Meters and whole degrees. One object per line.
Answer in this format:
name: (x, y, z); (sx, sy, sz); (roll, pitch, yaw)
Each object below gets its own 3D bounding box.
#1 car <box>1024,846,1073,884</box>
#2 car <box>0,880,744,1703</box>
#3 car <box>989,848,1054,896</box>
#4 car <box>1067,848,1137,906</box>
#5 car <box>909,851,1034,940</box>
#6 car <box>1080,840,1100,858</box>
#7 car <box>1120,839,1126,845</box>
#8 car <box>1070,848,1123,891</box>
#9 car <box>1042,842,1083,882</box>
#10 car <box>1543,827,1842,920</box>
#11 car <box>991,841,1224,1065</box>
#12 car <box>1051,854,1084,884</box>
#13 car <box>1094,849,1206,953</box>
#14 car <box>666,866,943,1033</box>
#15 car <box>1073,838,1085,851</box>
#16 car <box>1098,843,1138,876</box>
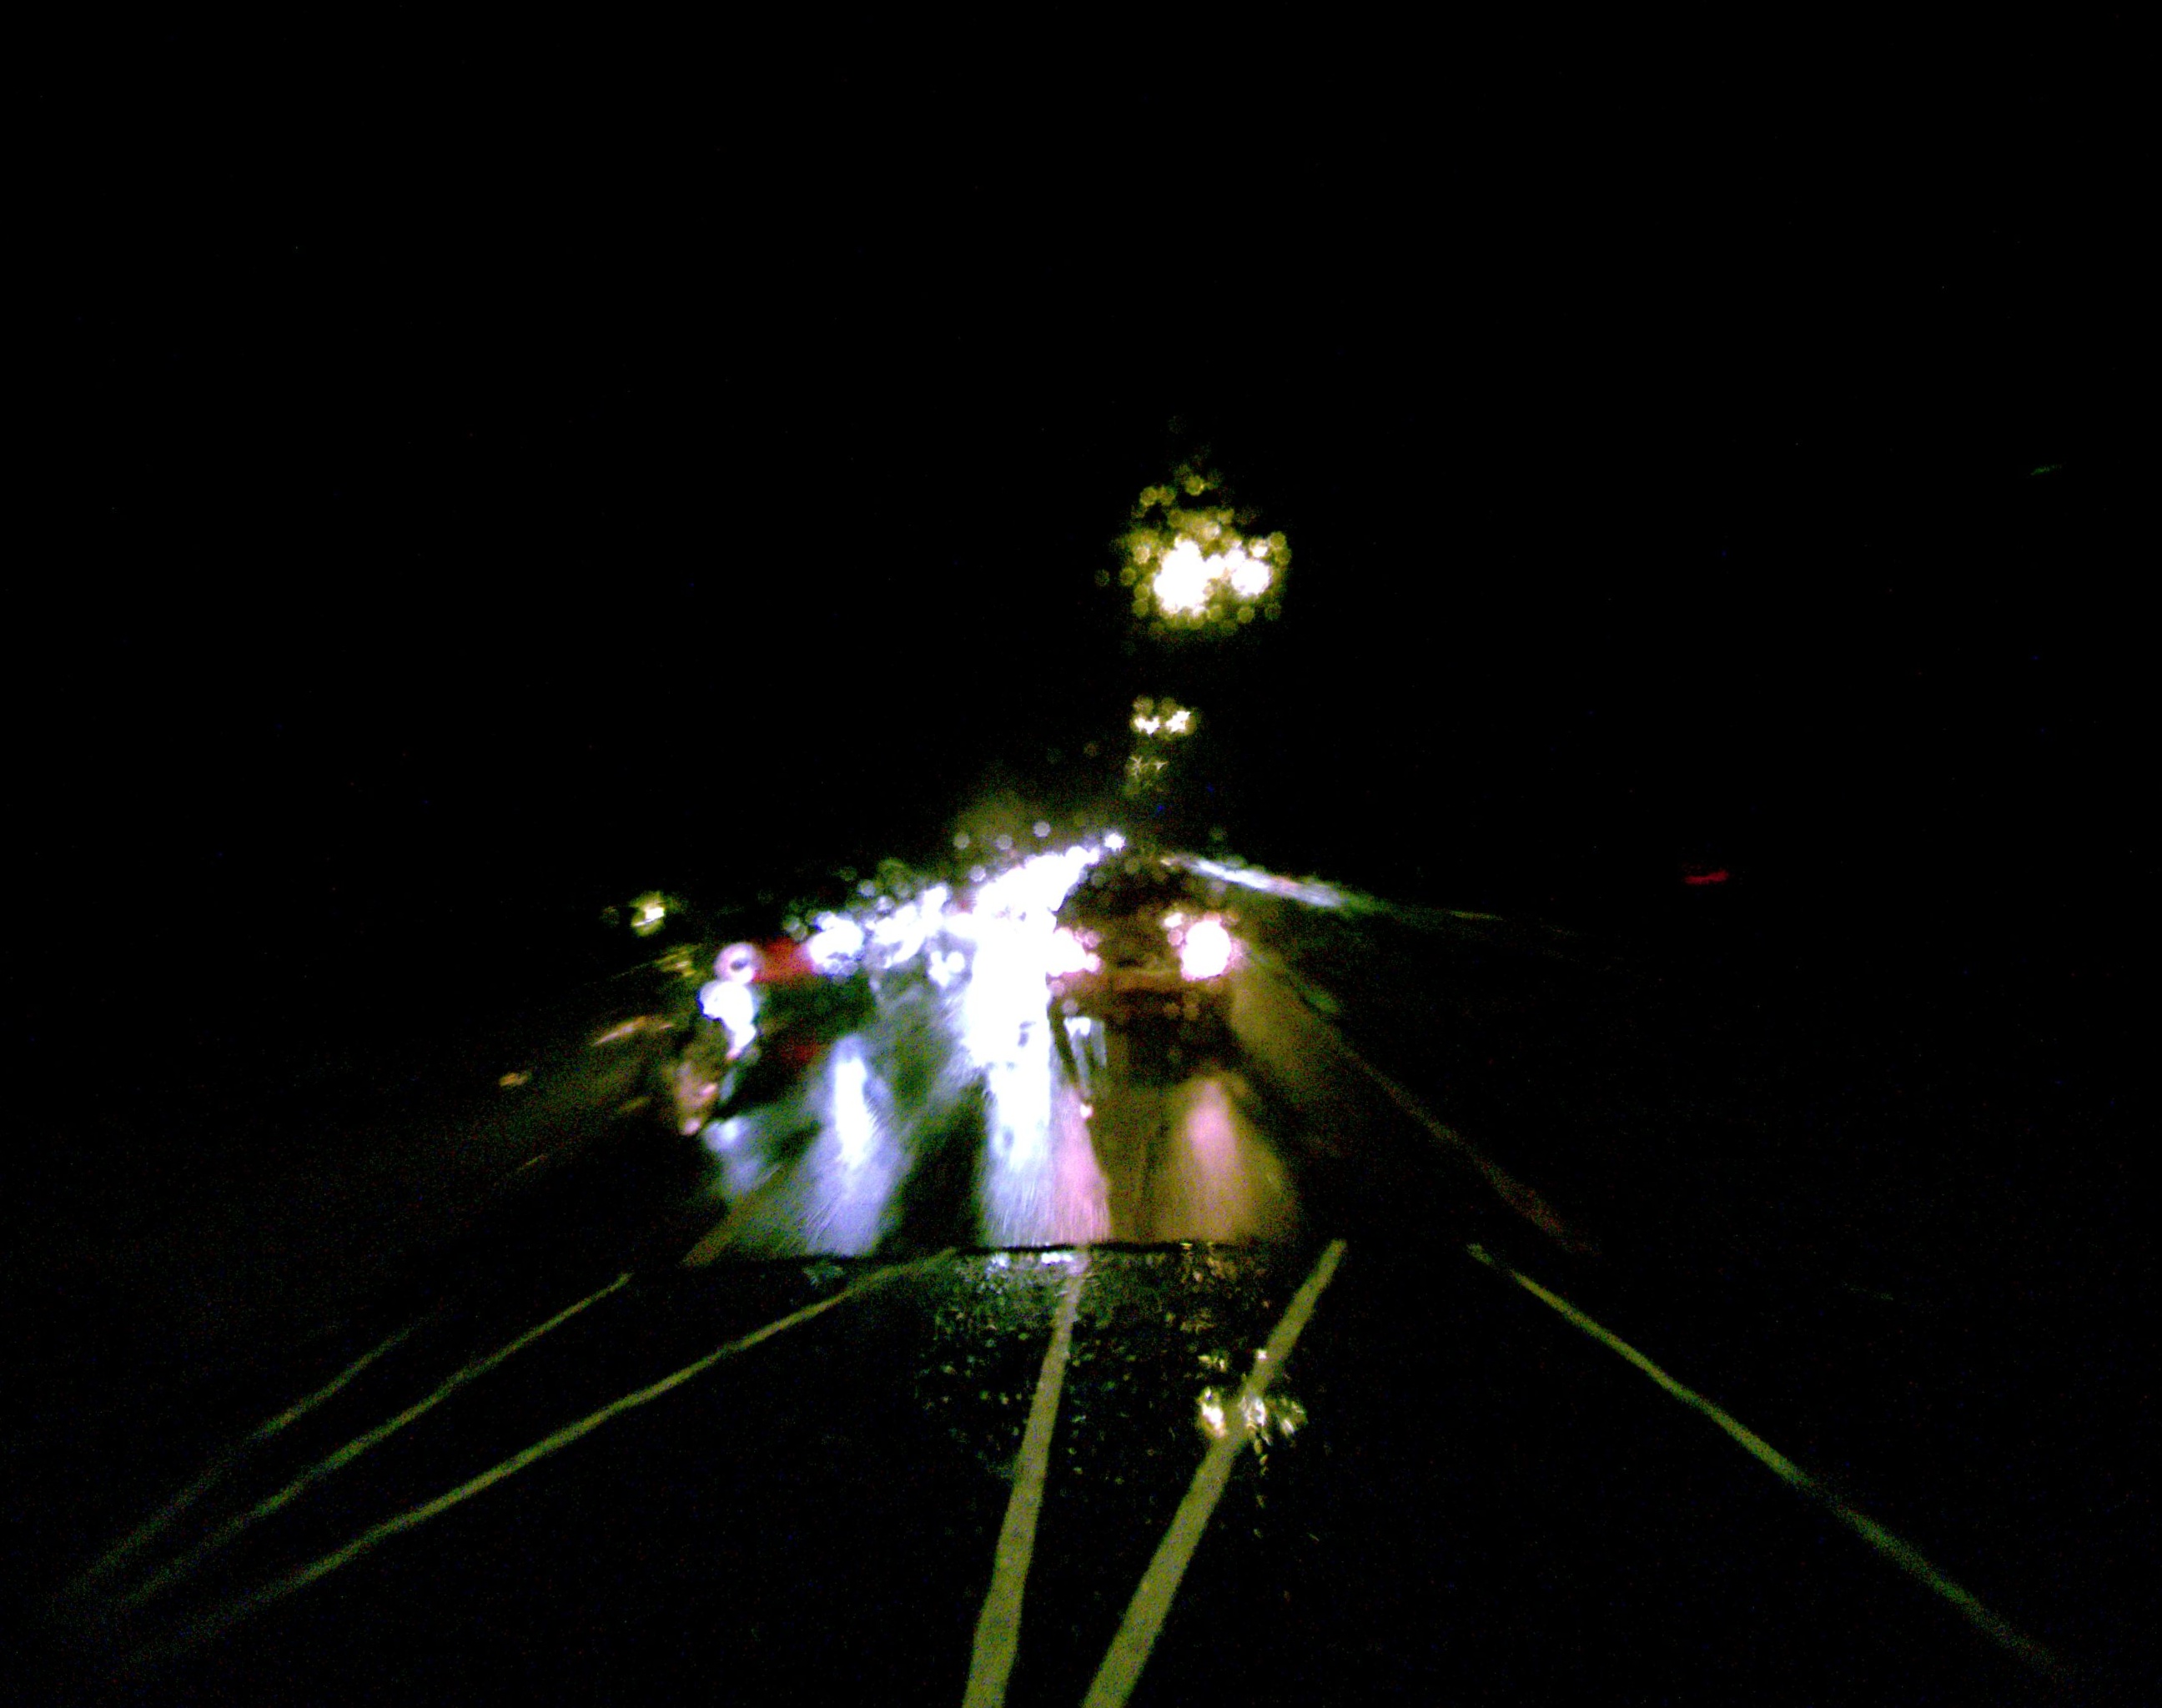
car: (-1.422, 0.460, 35.103); (1.998, 1.589, 4.391); (-1, 1, 1)
car: (-3.069, 0.996, 2.566); (1.711, 1.513, 4.413); (-2, 1, 2)
car: (-2.142, 0.608, 28.567); (1.998, 1.589, 4.391); (-1, 1, 1)
car: (0.613, 0.620, 22.783); (1.838, 1.417, 3.698); (-4, 1, 1)
car: (-2.229, 0.790, 16.704); (1.998, 1.589, 4.391); (-1, 1, 1)
car: (0.912, -0.512, 73.674); (1.869, 1.654, 4.000); (-1, 1, 2)
car: (14.556, -4.152, 260.607); (1.998, 1.669, 4.000); (-2, 1, 4)
car: (0.623, 0.577, 31.190); (1.998, 1.497, 3.999); (-2, 1, 1)
car: (-0.959, 0.395, 41.544); (1.998, 2.002, 3.999); (-2, 1, 1)
car: (11.787, 0.369, 15.231); (1.999, 1.499, 4.840); (-2, -1, -1)
car: (0.221, 0.739, 7.209); (1.497, 1.416, 3.390); (-9, -1, 1)
car: (-0.854, 0.924, 49.677); (1.998, 1.789, 3.999); (-1, 1, 1)
car: (1.083, 0.709, 13.221); (1.606, 1.417, 3.389); (-4, 1, 1)
car: (-3.073, 0.971, 9.474); (1.743, 1.409, 4.139); (-2, 1, 2)
car: (-0.376, -1.655, 131.477); (1.998, 2.002, 3.999); (-1, 1, 0)
car: (1.940, 0.237, 40.679); (1.998, 1.575, 3.999); (-2, 1, 2)
